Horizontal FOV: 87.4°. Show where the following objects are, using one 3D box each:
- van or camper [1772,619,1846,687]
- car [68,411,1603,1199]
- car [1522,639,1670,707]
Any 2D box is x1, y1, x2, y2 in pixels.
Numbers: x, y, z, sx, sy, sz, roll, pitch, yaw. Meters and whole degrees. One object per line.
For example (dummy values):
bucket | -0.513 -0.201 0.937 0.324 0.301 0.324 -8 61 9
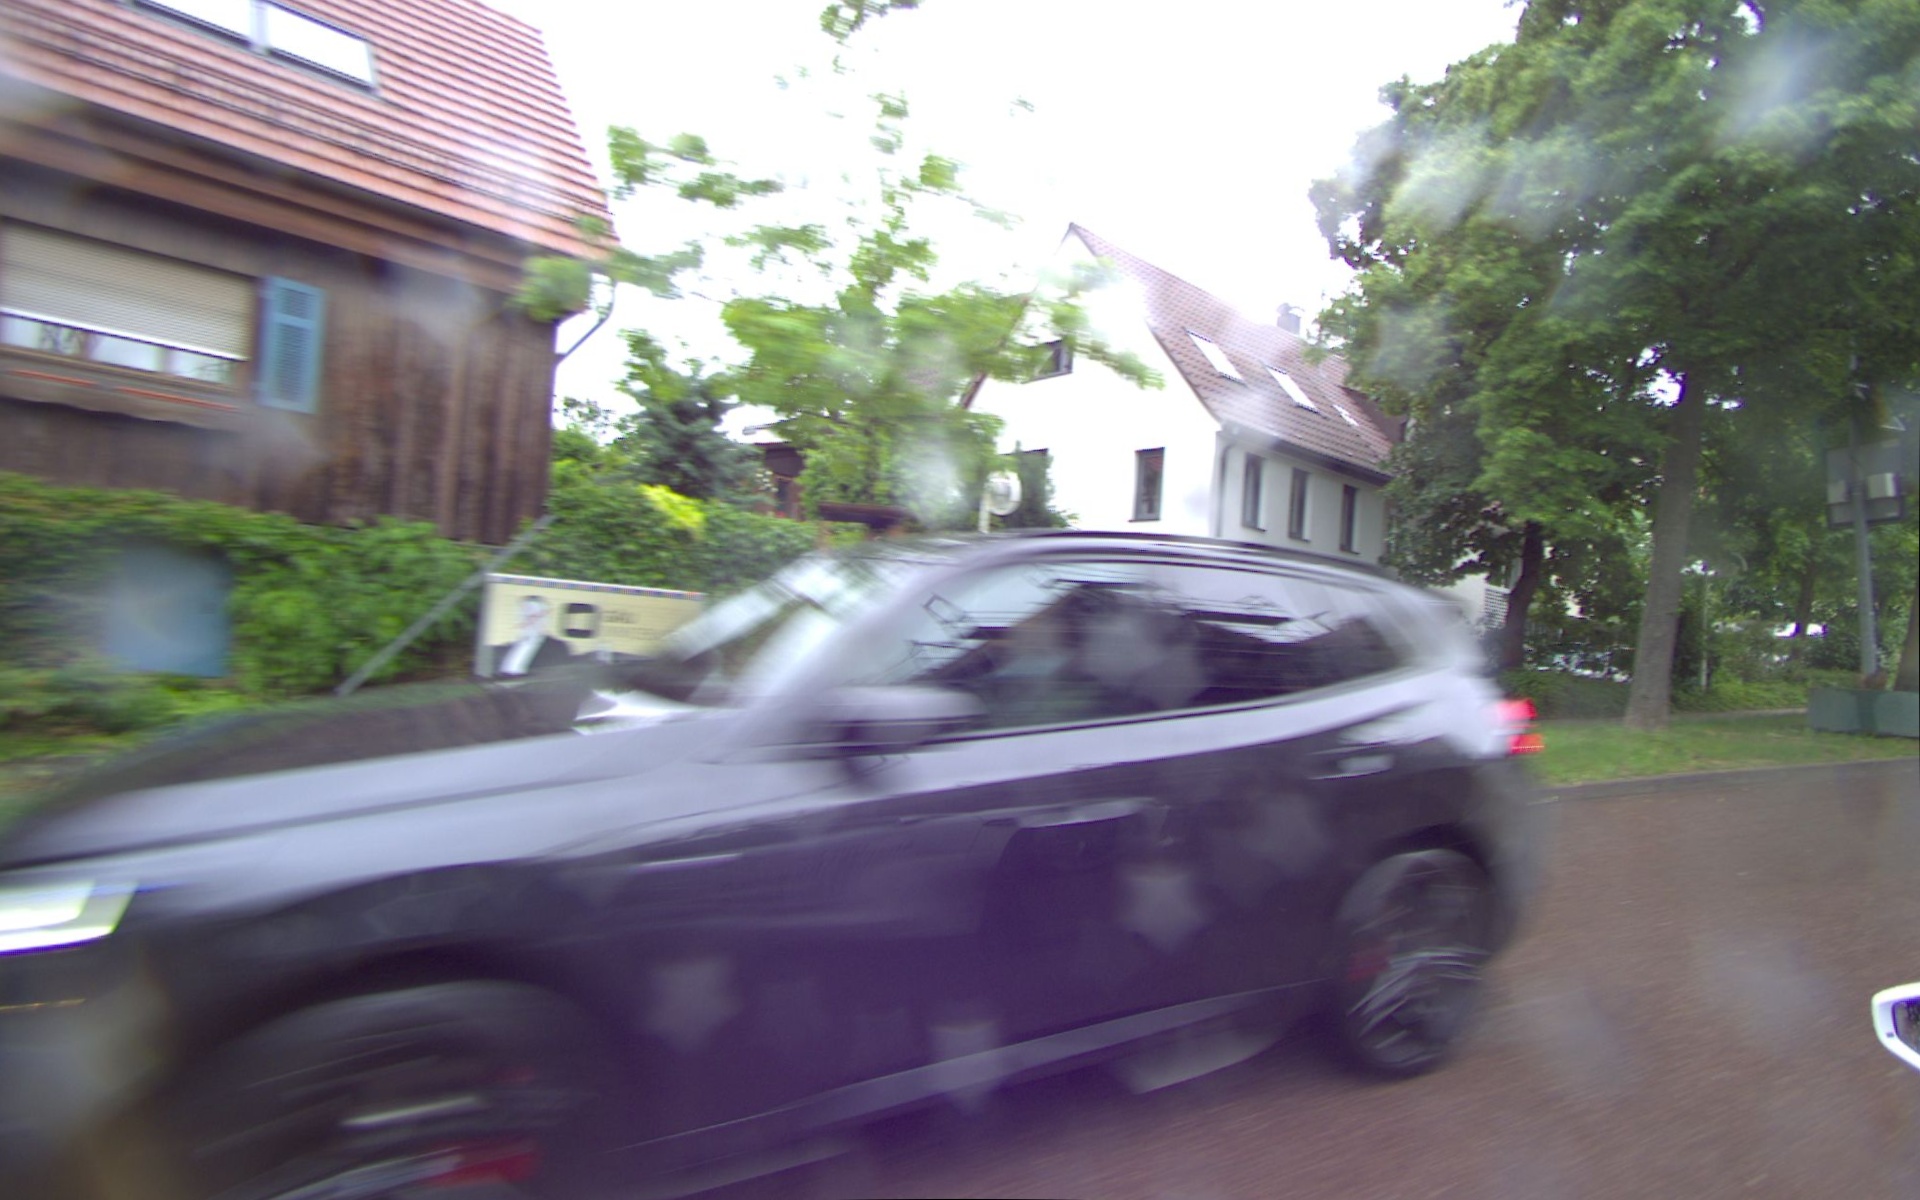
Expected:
van or camper | 35.807 2.153 42.506 1.614 2.591 6.047 4 1 34
car | -0.006 0.570 3.357 4.089 1.637 1.880 2 0 -29
car | 14.904 1.651 23.495 3.419 1.347 1.977 2 0 -40
